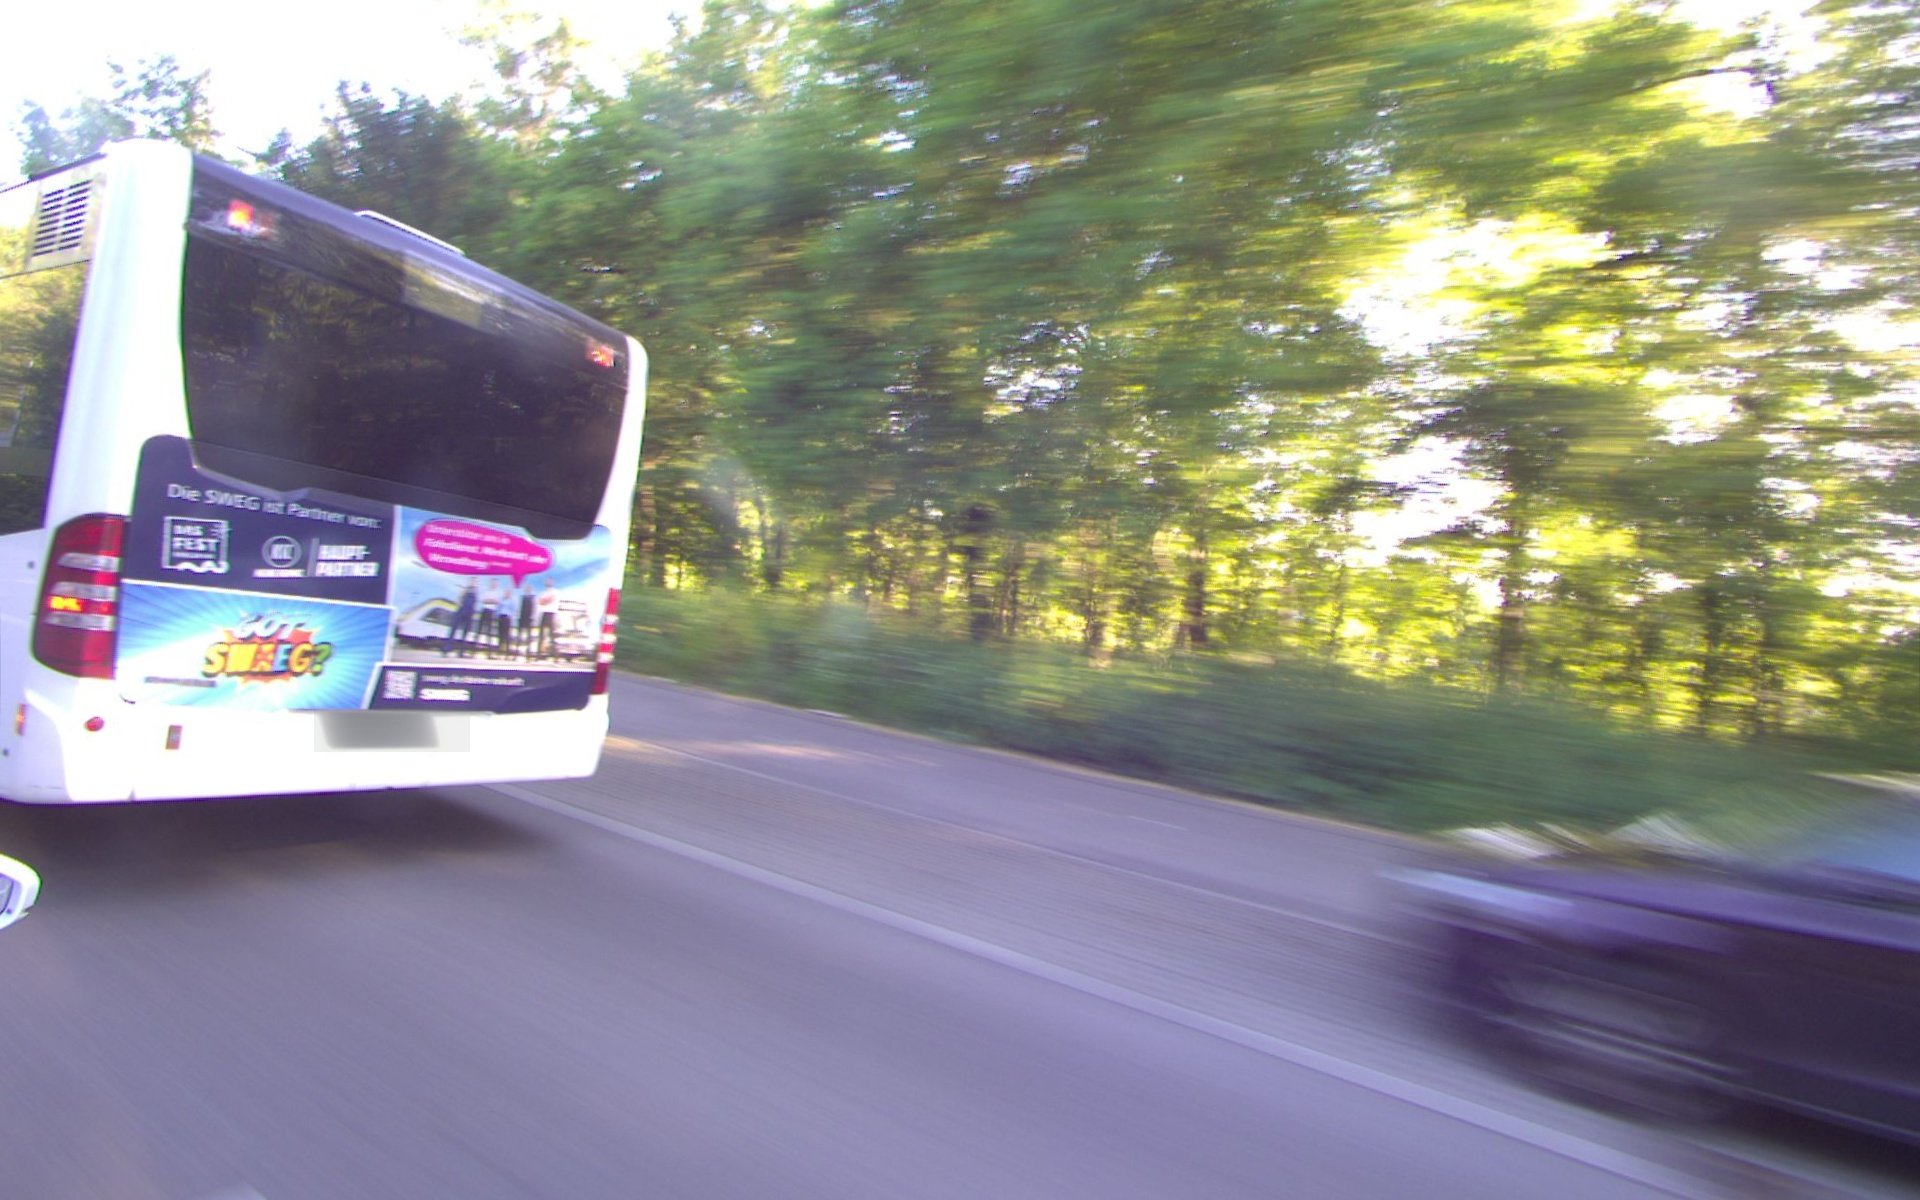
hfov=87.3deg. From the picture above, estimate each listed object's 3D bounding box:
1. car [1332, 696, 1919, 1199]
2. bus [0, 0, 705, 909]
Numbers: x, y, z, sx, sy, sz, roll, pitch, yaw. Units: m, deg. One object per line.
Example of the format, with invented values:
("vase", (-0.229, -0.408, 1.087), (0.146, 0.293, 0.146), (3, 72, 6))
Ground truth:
("car", (3.710, 1.368, 3.926), (3.879, 1.409, 1.738), (7, 0, 30))
("bus", (-7.372, -1.031, 7.726), (12.078, 3.260, 2.708), (6, -1, 33))
